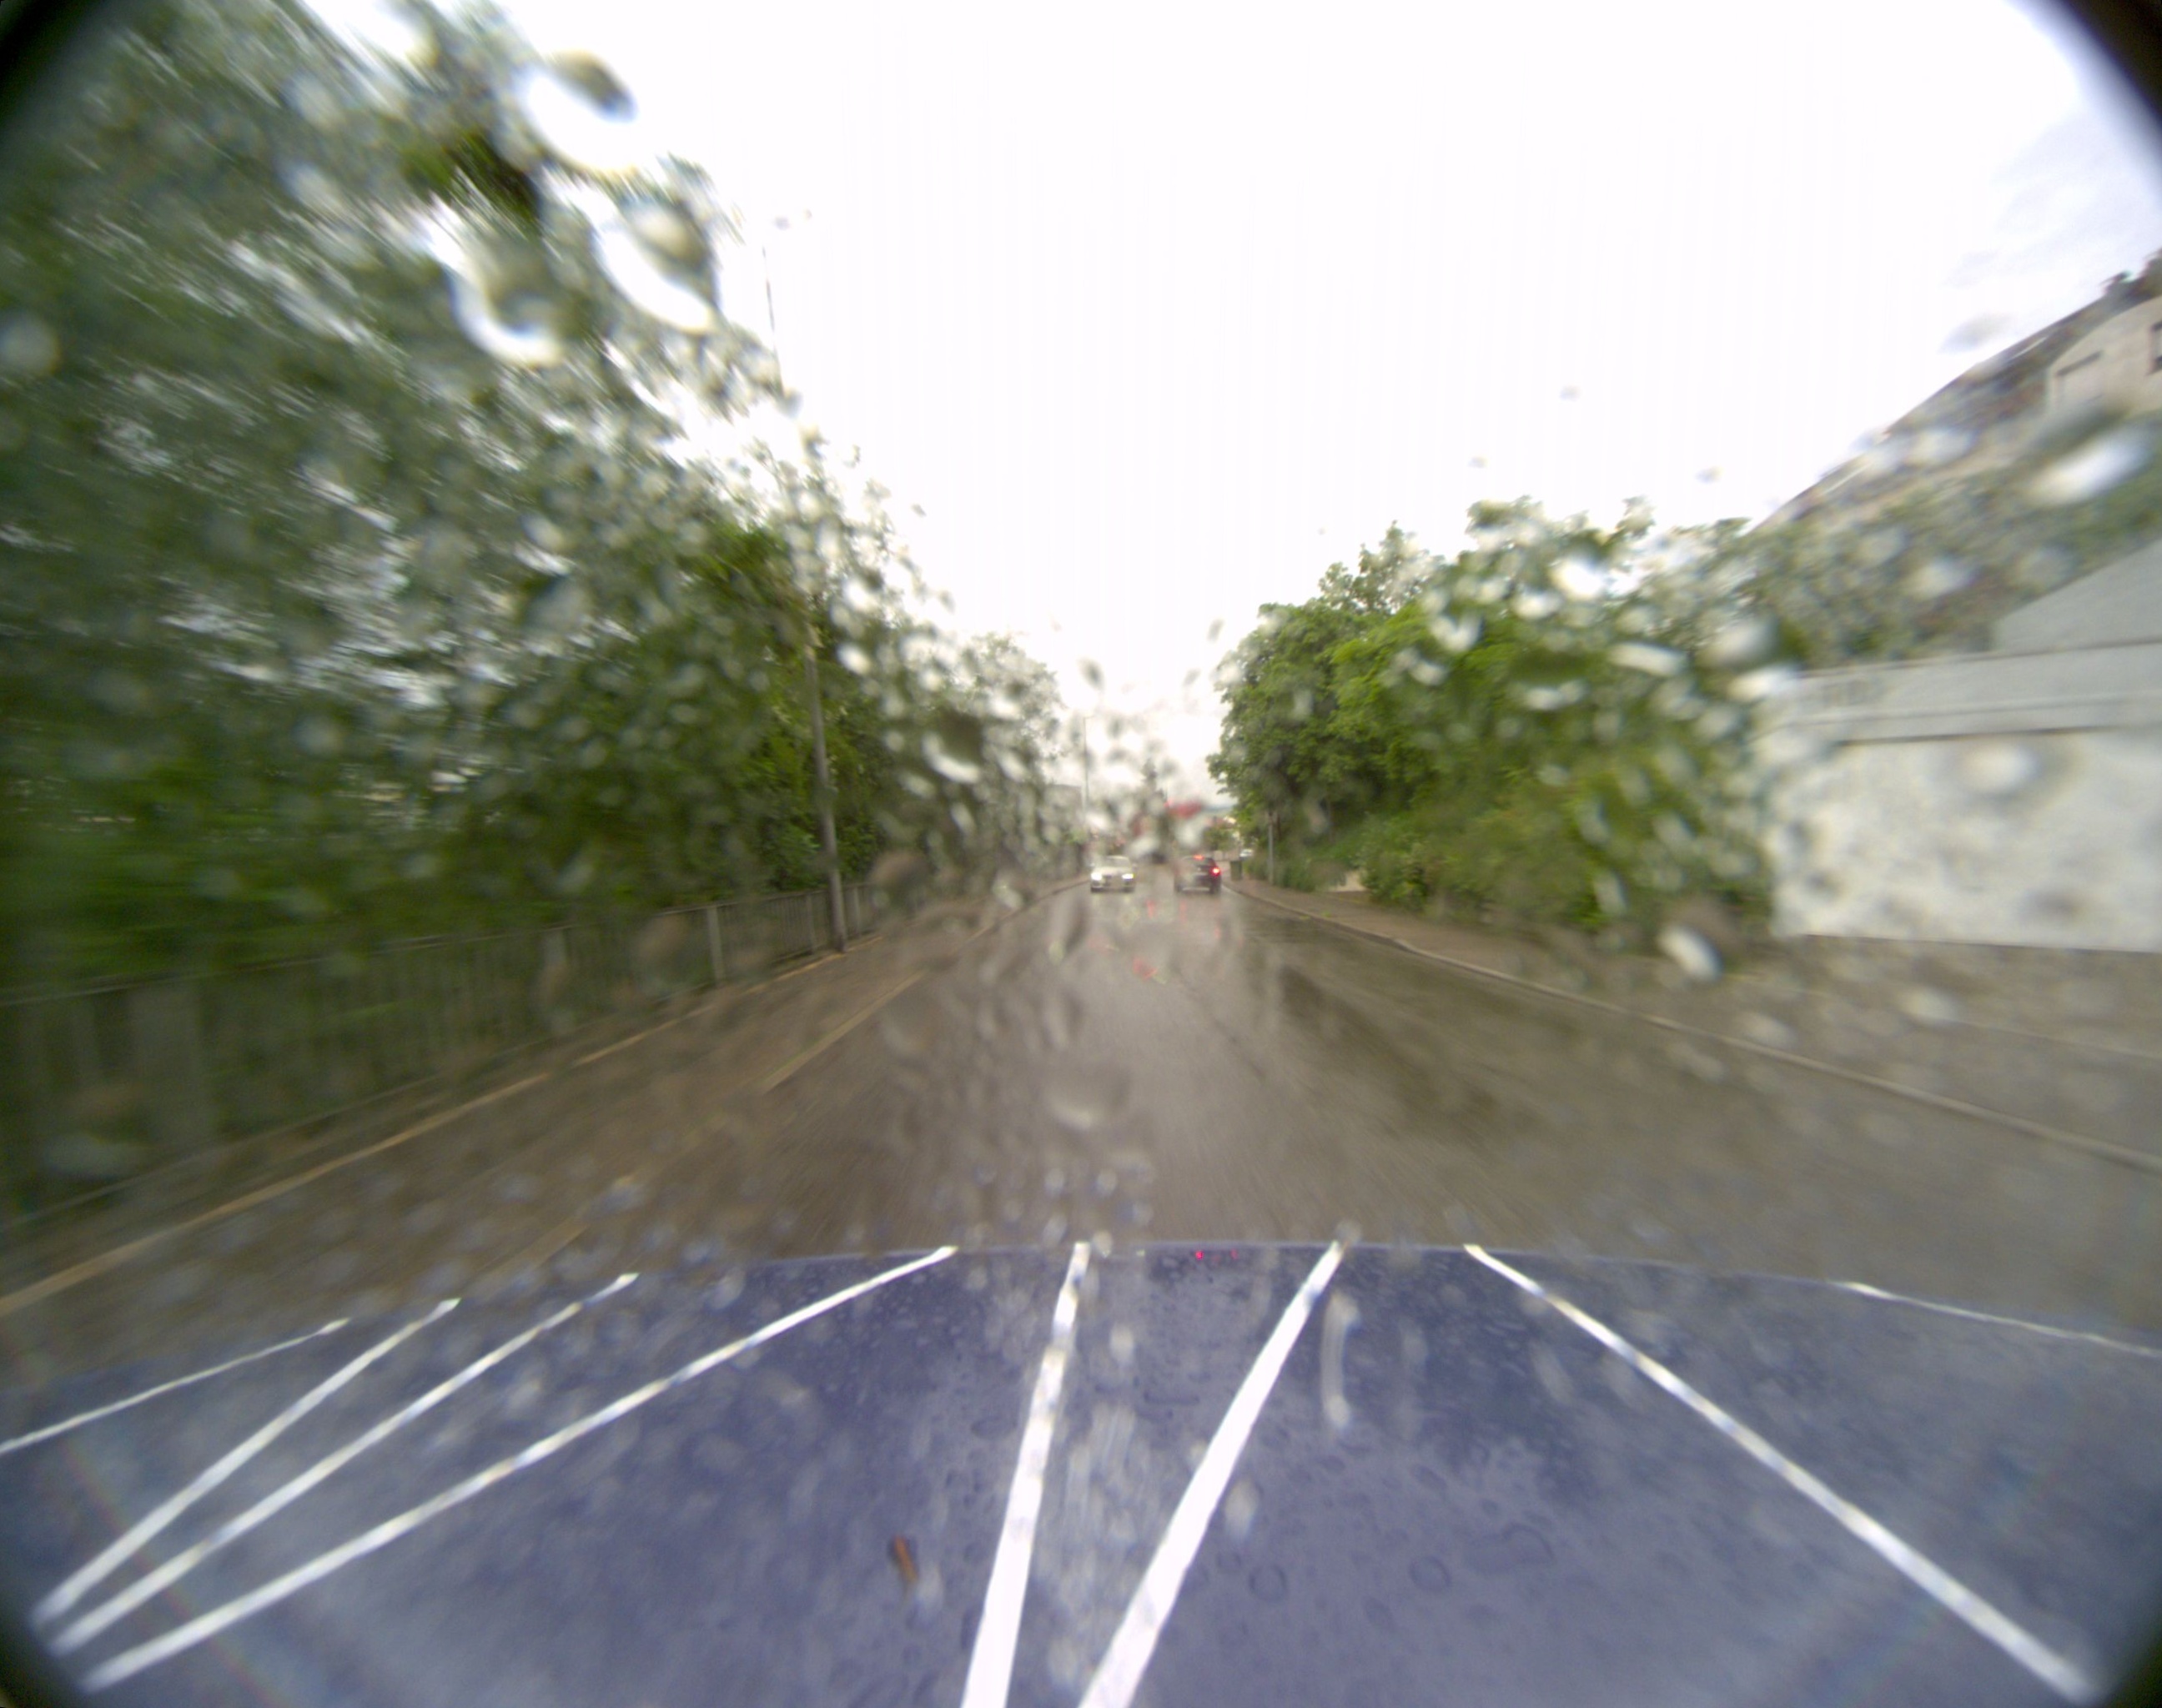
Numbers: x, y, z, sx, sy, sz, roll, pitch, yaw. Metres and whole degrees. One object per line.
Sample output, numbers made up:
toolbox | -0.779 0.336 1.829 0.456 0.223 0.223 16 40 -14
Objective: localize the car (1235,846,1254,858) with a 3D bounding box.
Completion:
car | 24.937 -0.331 115.650 1.780 1.793 4.715 2 2 25

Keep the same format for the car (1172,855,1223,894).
car | 4.475 0.745 29.676 1.654 1.377 3.530 -1 0 4

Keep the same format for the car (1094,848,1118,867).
car | 2.312 0.314 69.353 1.630 1.485 3.428 6 2 9

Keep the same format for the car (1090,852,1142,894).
car | 1.505 0.747 31.653 1.797 1.455 4.001 2 2 7

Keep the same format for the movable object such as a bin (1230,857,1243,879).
movable object such as a bin | 7.928 0.704 38.806 0.649 1.109 0.505 0 1 9

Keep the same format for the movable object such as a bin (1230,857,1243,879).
movable object such as a bin | 8.047 0.713 39.406 0.649 1.097 0.673 0 1 9
